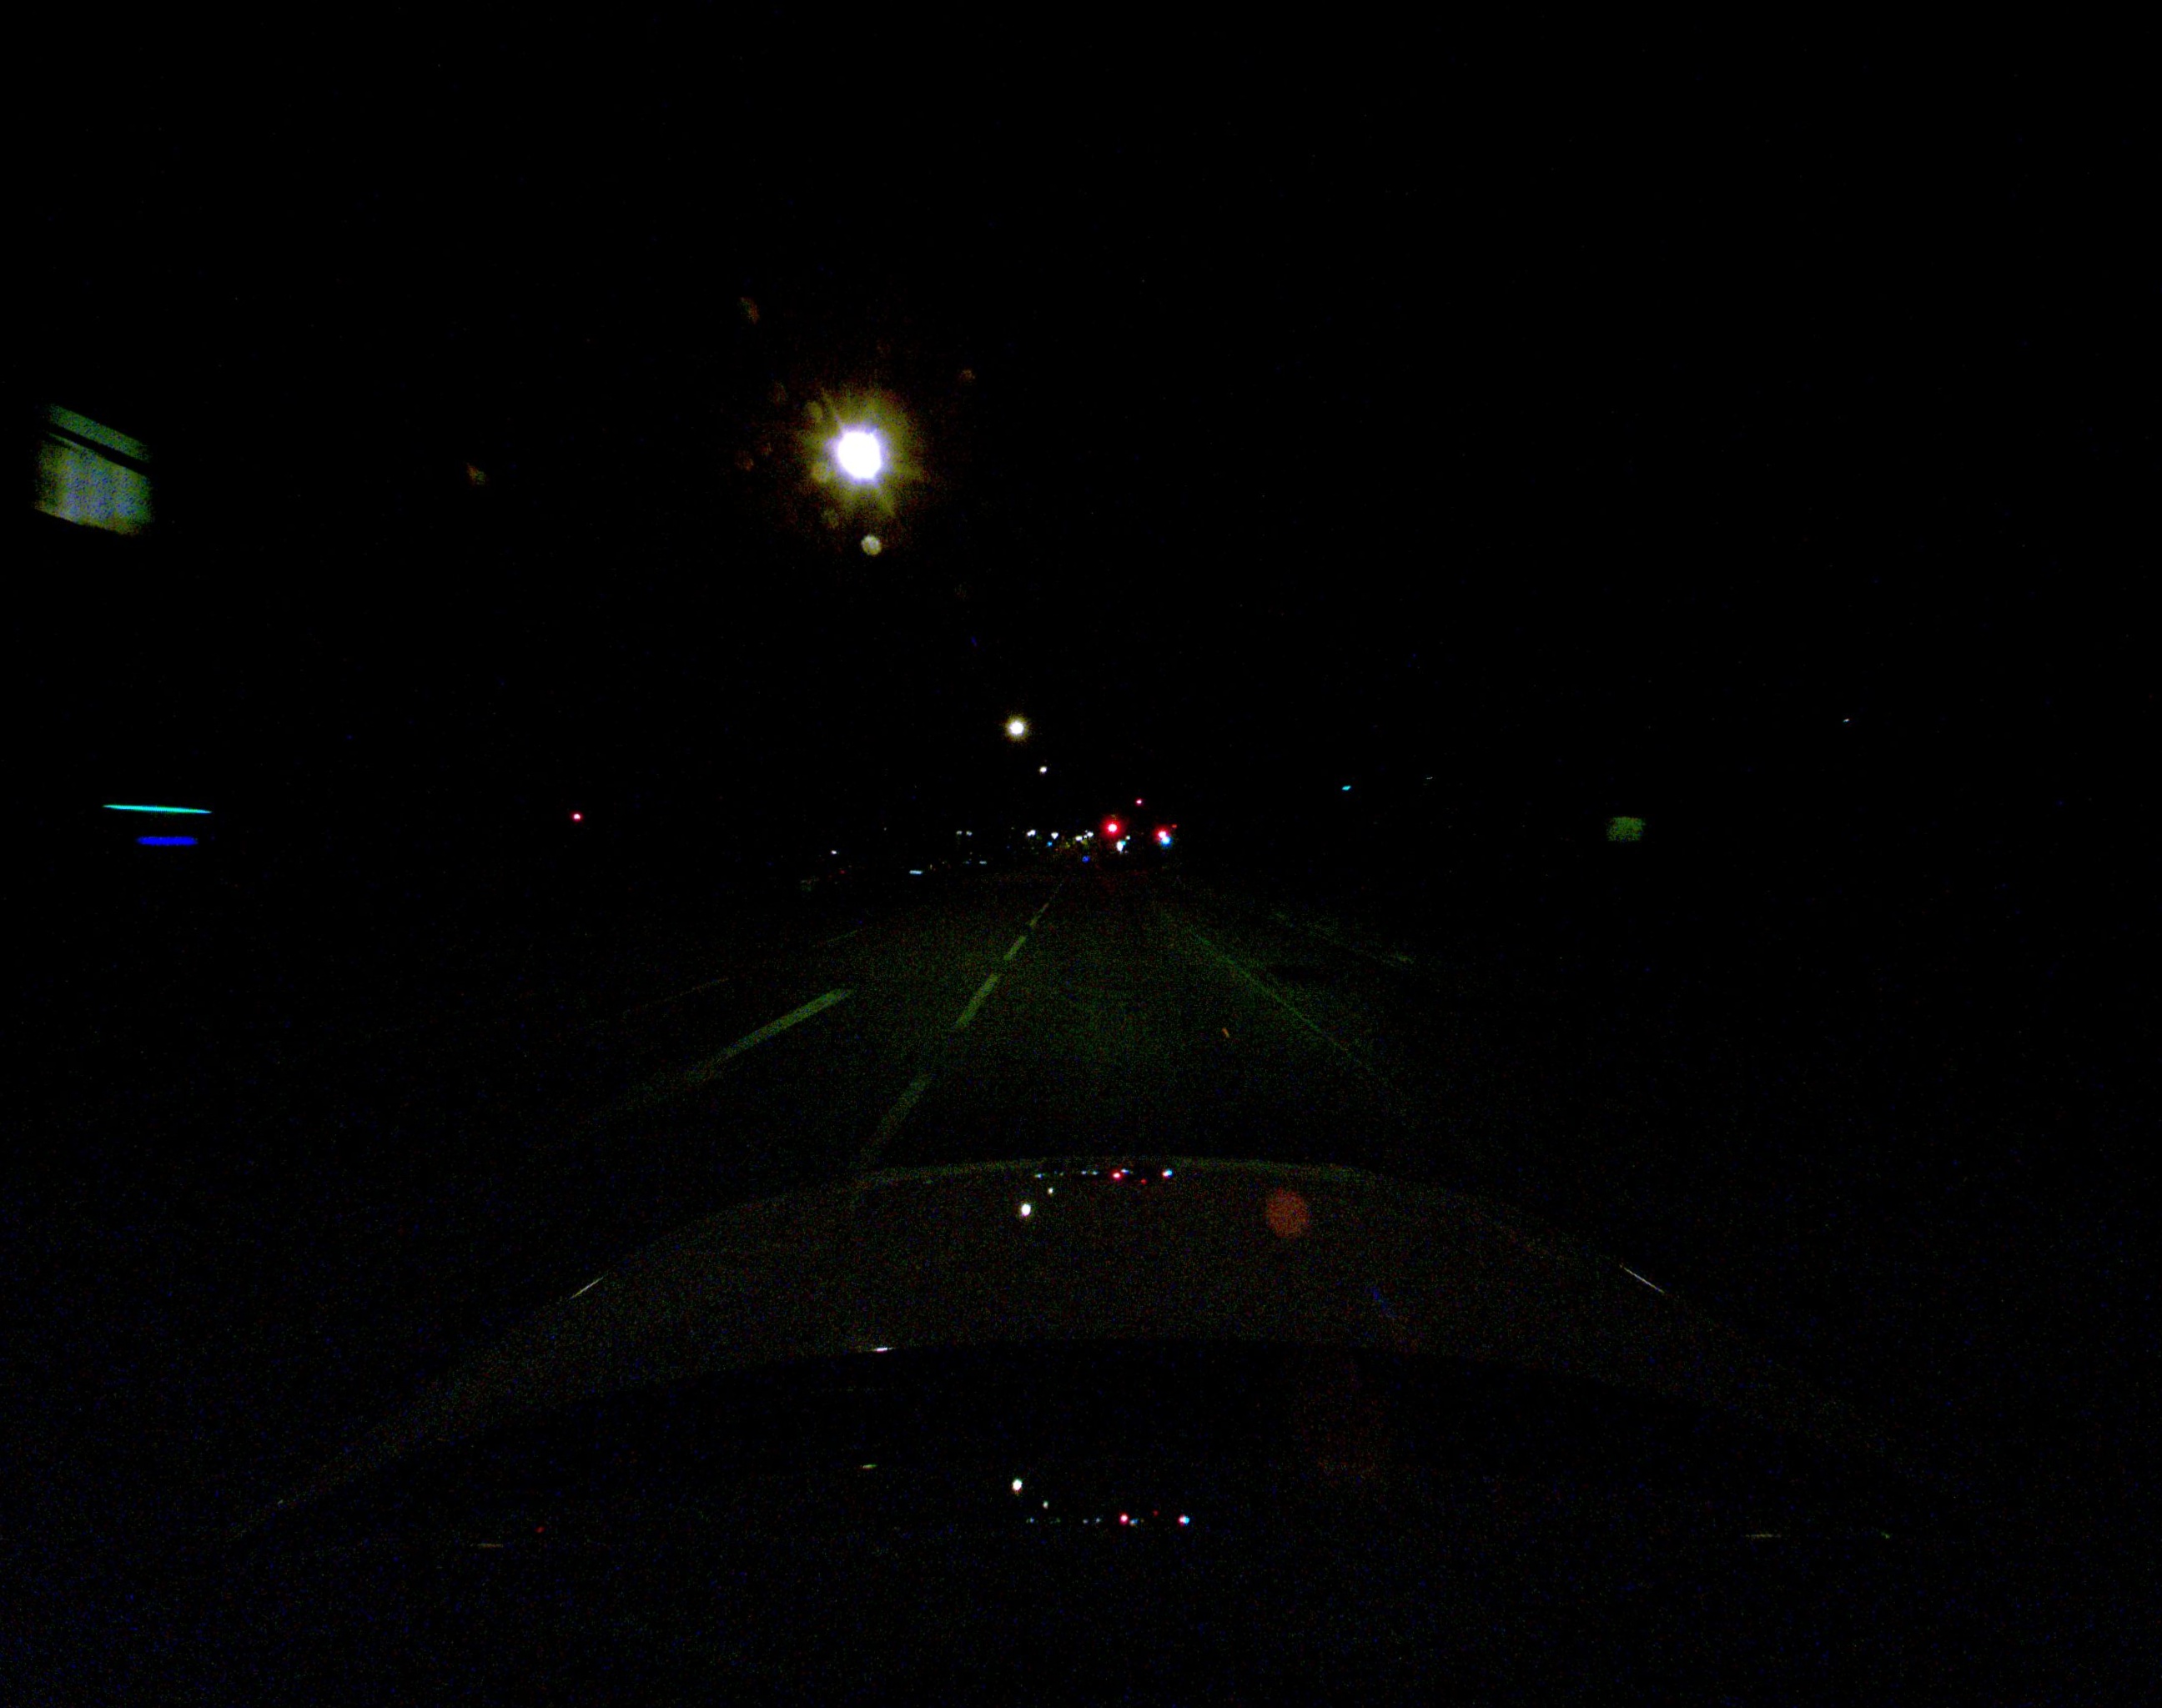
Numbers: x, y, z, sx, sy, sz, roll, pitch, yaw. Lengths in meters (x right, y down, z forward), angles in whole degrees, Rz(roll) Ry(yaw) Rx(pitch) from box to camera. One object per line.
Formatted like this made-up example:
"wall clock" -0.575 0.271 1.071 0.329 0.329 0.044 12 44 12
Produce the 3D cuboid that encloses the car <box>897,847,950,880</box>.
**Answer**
"car" -7.659 0.431 39.993 1.763 1.486 4.765 0 0 -2

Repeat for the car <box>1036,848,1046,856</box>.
"car" -7.237 -0.362 148.840 1.646 1.431 4.000 0 0 0

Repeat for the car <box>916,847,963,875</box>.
"car" -7.758 0.360 45.022 1.762 1.486 4.862 0 0 -1

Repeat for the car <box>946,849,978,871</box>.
"car" -7.759 0.356 53.362 1.618 1.382 4.447 0 0 -3

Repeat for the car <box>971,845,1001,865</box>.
"car" -7.715 0.078 66.524 1.893 1.471 4.452 2 1 0

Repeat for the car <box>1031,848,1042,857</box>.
"car" -7.401 -0.249 135.103 1.646 1.431 4.000 0 0 0

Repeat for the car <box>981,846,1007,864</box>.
"car" -7.612 0.098 71.518 1.798 1.481 4.322 1 0 -1

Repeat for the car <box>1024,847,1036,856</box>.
"car" -7.628 -0.370 122.205 1.646 1.431 4.000 0 0 0

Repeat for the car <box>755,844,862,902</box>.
"car" -7.803 0.491 23.708 1.708 1.494 3.989 2 0 0

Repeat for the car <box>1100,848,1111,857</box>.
"car" 3.712 -0.258 124.847 1.645 1.431 4.002 0 0 2
